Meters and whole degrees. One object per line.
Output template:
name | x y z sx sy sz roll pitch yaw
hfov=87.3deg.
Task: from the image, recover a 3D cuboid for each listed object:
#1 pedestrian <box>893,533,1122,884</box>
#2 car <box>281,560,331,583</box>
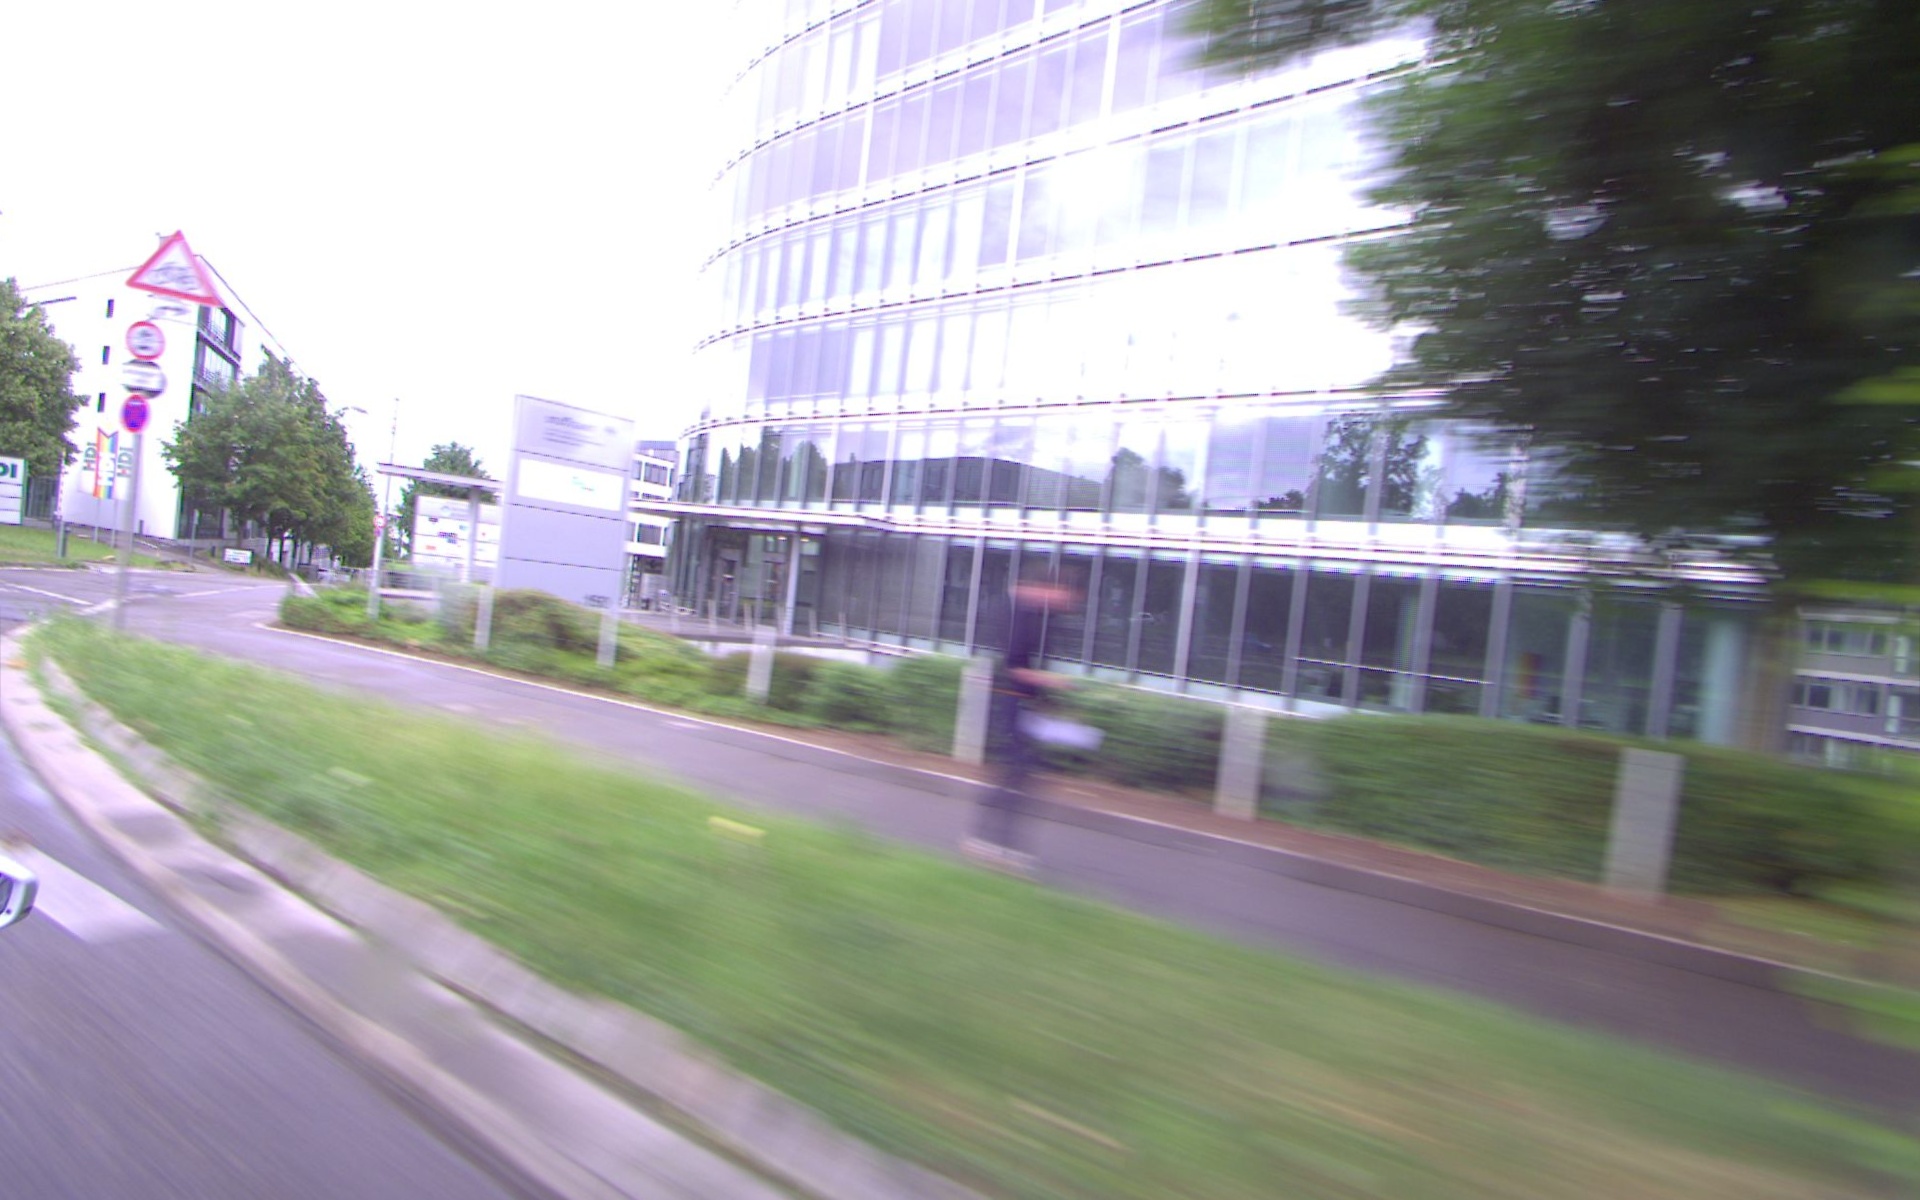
pedestrian | 0.291 0.592 5.882 0.853 1.818 0.827 6 -1 32
car | -65.066 -2.788 100.116 3.963 1.737 1.982 8 -1 -34
